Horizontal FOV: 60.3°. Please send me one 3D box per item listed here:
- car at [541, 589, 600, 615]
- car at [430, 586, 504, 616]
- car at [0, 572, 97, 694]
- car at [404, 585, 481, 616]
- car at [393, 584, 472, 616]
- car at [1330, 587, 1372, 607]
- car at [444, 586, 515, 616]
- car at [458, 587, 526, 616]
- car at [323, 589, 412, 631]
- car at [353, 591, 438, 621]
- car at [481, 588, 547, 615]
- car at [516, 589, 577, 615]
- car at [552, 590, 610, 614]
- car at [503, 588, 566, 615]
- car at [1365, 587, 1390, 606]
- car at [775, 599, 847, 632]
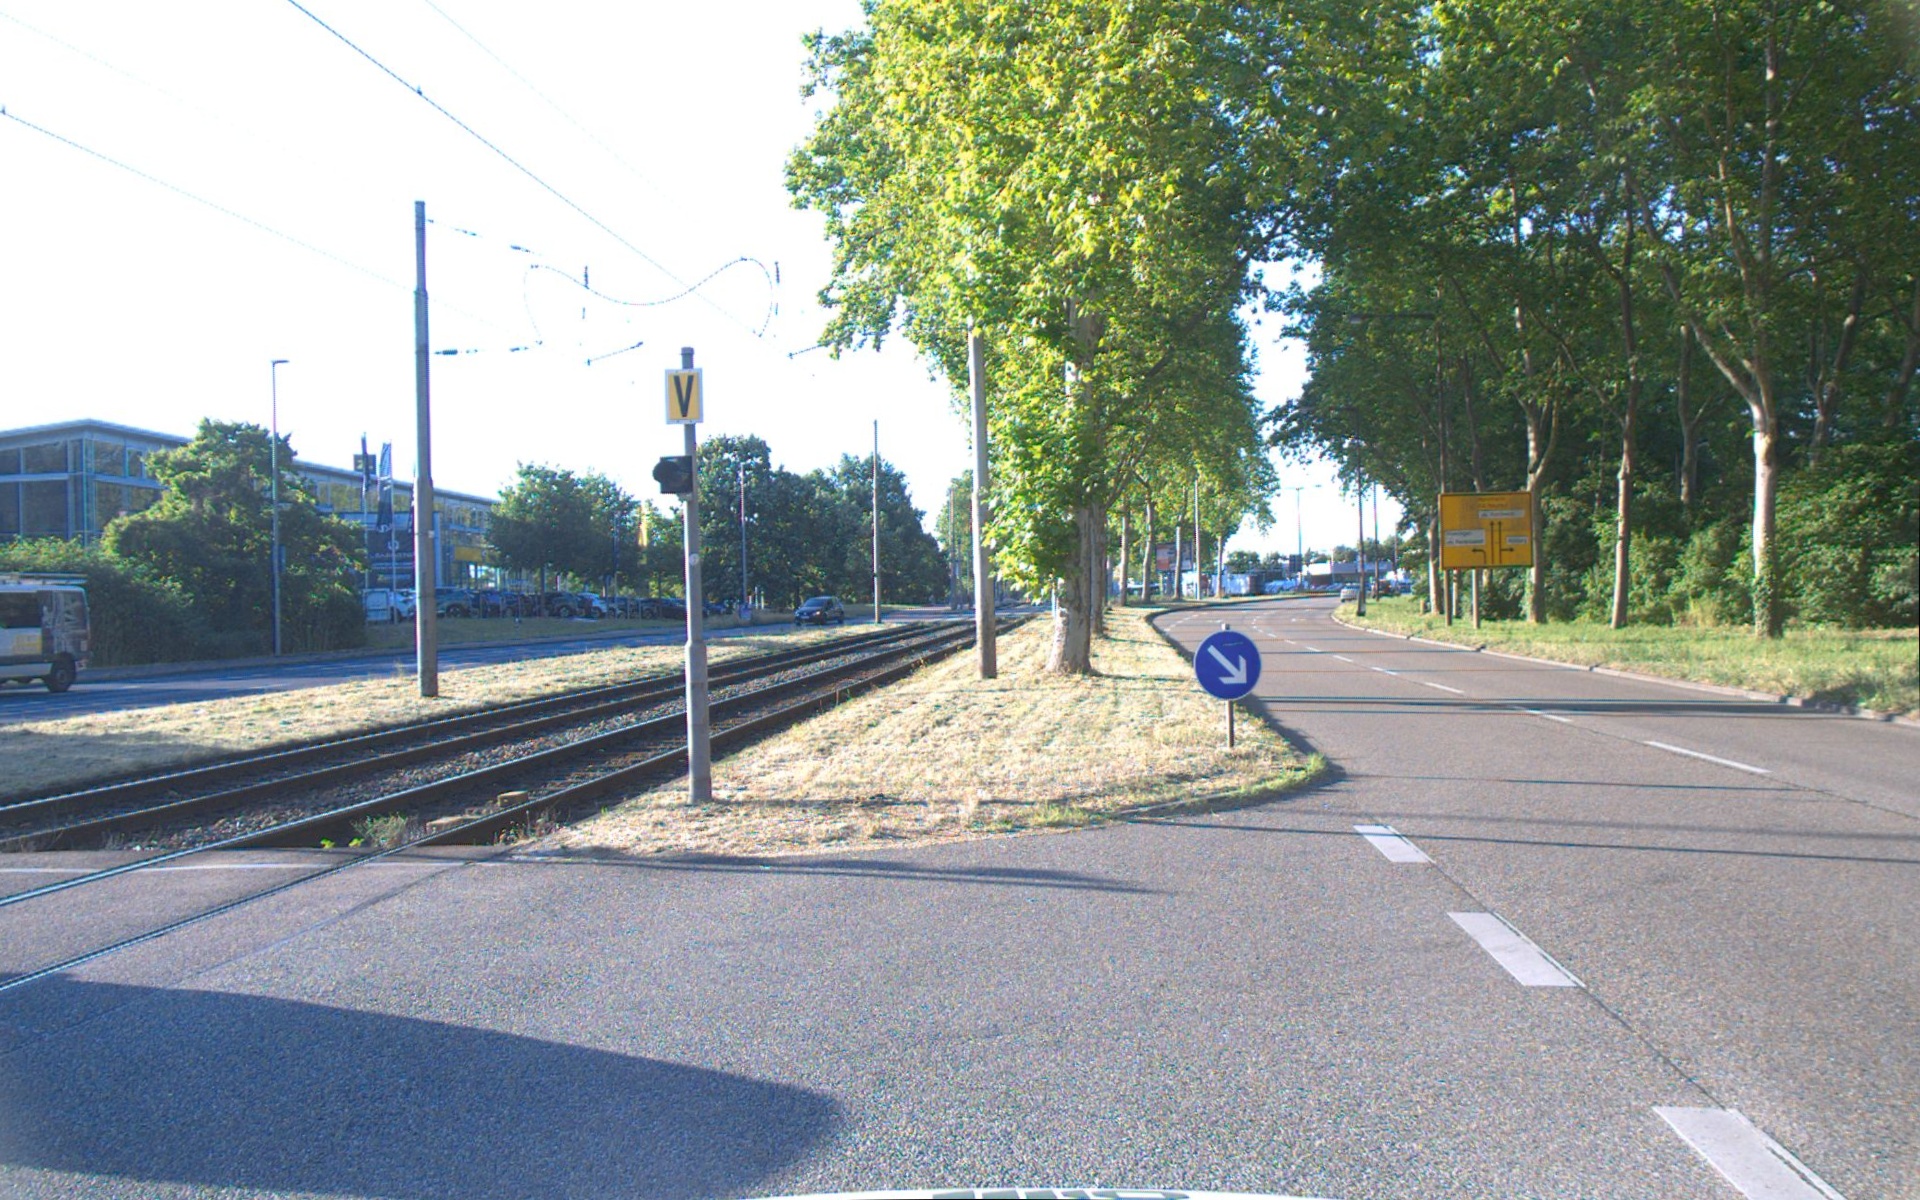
[{"bbox_3d":[-25.405,0.135,107.939,3.723,1.594,1.753,-1,0,-14],"label":"car"},{"bbox_3d":[-26.708,0.045,89.753,3.723,1.594,1.753,-1,0,-14],"label":"car"},{"bbox_3d":[-21.533,0.722,35.966,1.960,2.611,5.880,-1,0,6],"label":"car"},{"bbox_3d":[-27.046,0.031,86.524,3.723,1.594,1.753,-1,0,-14],"label":"car"},{"bbox_3d":[-26.813,0.014,84.161,3.723,1.594,1.753,-1,0,-14],"label":"car"},{"bbox_3d":[29.387,-0.240,124.233,1.956,1.467,3.992,-1,0,30],"label":"car"},{"bbox_3d":[-26.895,0.064,92.613,3.723,1.594,1.753,-1,0,-14],"label":"car"},{"bbox_3d":[-26.988,0.082,95.471,3.723,1.594,1.753,-1,0,-14],"label":"car"},{"bbox_3d":[-27.454,0.443,76.711,3.723,1.892,1.753,-1,-1,-14],"label":"car"},{"bbox_3d":[-27.261,0.287,79.975,3.723,1.412,1.753,-1,0,-14],"label":"car"},{"bbox_3d":[-26.519,0.093,98.430,3.723,1.594,1.753,-1,0,-14],"label":"car"},{"bbox_3d":[-26.122,0.124,104.618,3.723,1.594,1.753,-1,0,-14],"label":"car"},{"bbox_3d":[-25.390,0.151,110.740,3.723,1.594,1.753,-1,0,-14],"label":"car"},{"bbox_3d":[-26.154,0.108,101.803,3.723,1.594,1.753,-1,0,-14],"label":"car"},{"bbox_3d":[33.836,-0.274,134.085,1.951,1.465,4.003,-1,0,13],"label":"car"},{"bbox_3d":[-8.048,0.830,89.673,1.776,1.713,3.989,-1,0,33],"label":"car"}]
